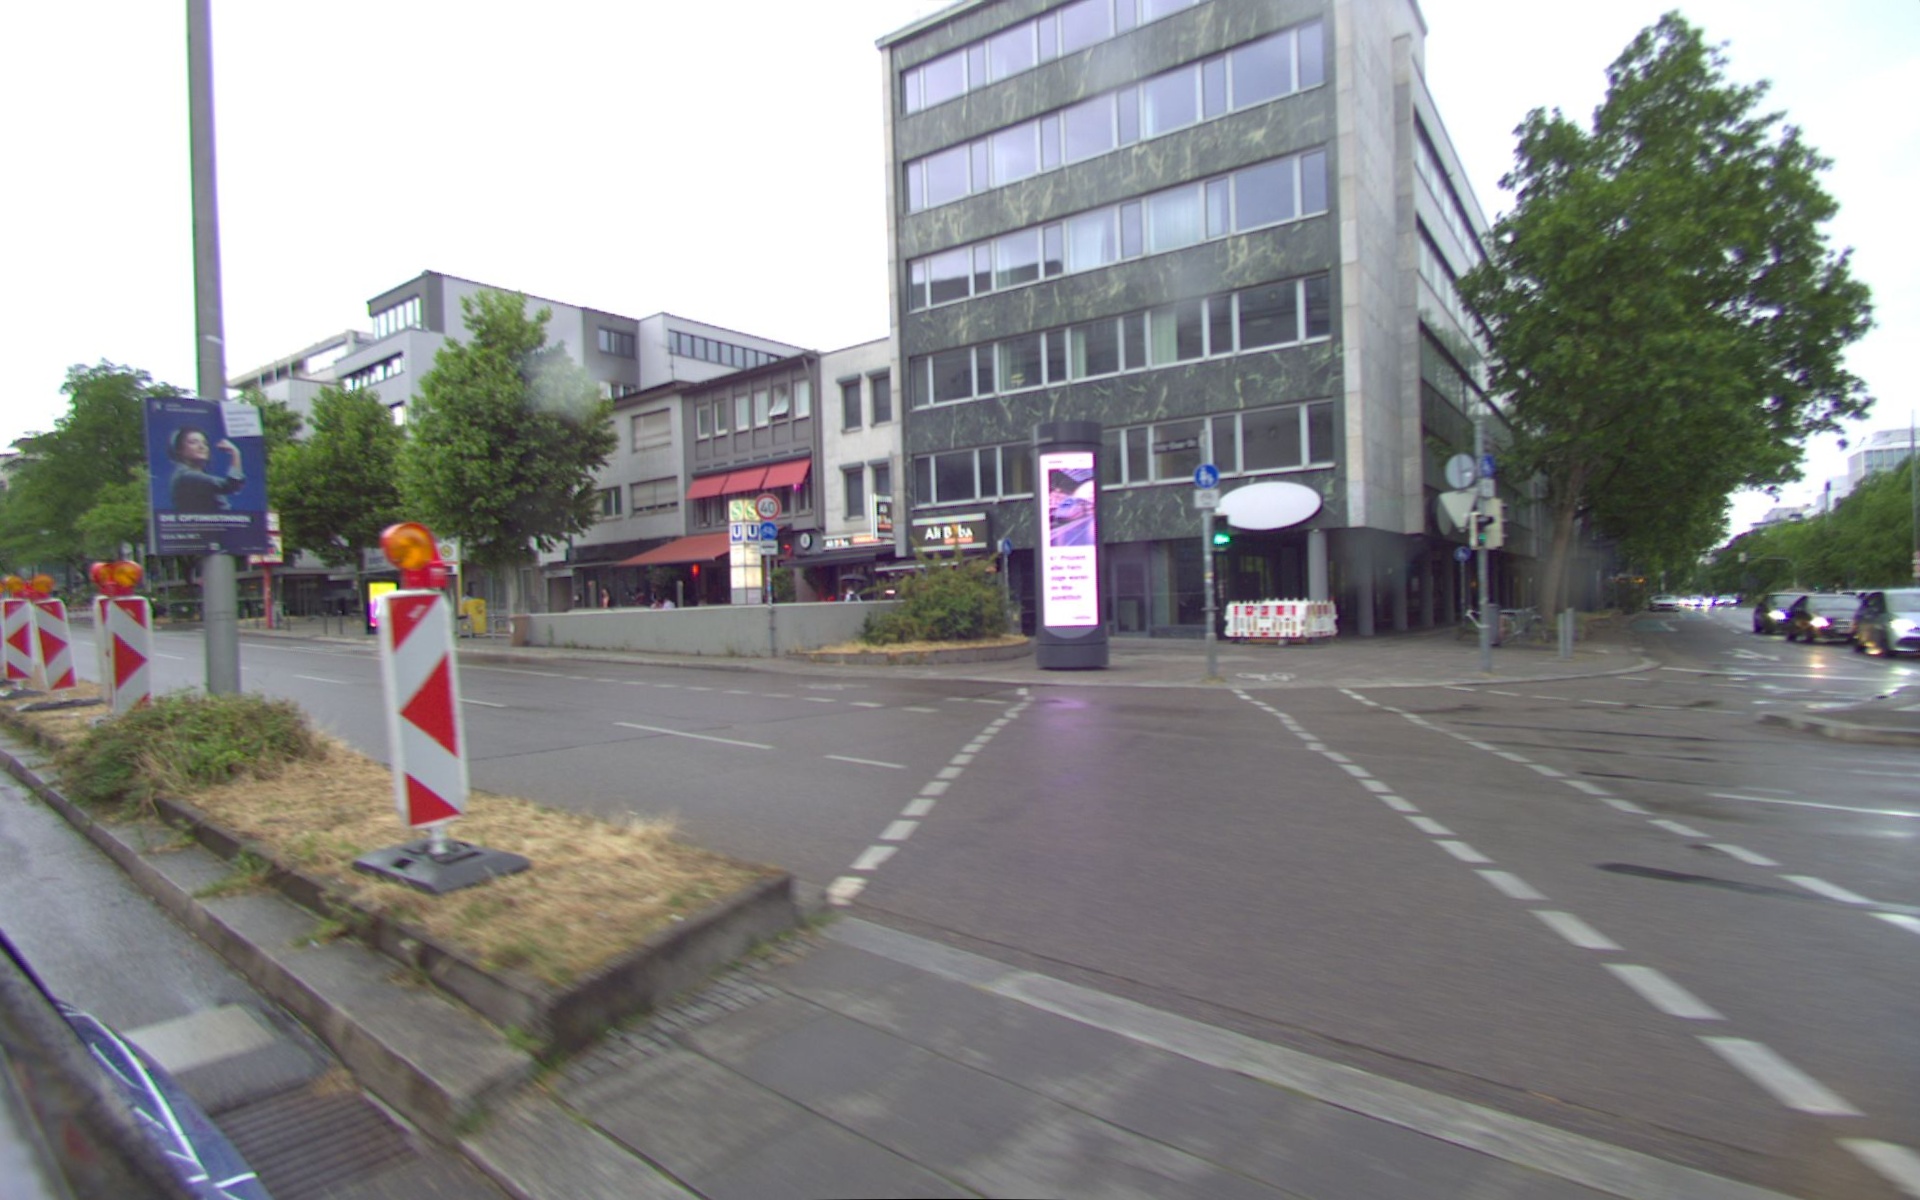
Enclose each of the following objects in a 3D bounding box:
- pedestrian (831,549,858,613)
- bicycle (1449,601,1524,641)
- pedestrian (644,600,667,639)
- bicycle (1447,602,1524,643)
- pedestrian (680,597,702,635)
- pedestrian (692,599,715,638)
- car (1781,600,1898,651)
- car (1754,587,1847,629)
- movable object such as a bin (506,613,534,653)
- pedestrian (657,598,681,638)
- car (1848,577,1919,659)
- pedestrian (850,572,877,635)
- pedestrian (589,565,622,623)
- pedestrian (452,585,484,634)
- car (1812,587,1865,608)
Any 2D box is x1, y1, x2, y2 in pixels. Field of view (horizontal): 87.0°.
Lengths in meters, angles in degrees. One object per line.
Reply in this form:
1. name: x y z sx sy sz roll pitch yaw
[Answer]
1. pedestrian: -3.728 -0.614 32.645 0.588 2.029 0.730 0 0 -29
2. bicycle: 14.640 0.580 28.179 1.780 1.060 0.579 -1 0 37
3. pedestrian: -12.067 0.773 40.156 0.611 1.540 0.660 -1 0 44
4. bicycle: 14.166 0.592 27.303 1.780 1.060 0.579 -1 0 37
5. pedestrian: -10.999 0.665 41.392 0.611 1.540 0.660 -1 0 45
6. pedestrian: -10.363 0.753 40.844 0.611 1.540 0.660 -1 0 44
7. car: 25.743 0.703 29.776 1.994 1.381 4.130 -1 0 33
8. car: 29.389 0.278 35.530 1.994 1.381 4.130 -1 0 33
9. movable object such as a bin: -12.725 0.948 29.283 0.660 1.109 0.501 0 1 39
10. pedestrian: -11.347 0.711 39.456 0.611 1.540 0.660 -1 0 44
11. car: 22.169 0.375 23.256 1.994 1.763 3.956 -1 0 32
12. pedestrian: -3.146 0.119 32.953 0.588 2.029 0.730 0 0 -29
13. pedestrian: -11.319 -0.185 32.305 0.786 1.837 0.607 0 0 21
14. pedestrian: -20.632 0.378 42.419 0.943 2.029 0.910 0 1 41
15. car: 65.131 -0.151 75.105 1.925 1.499 4.860 -1 0 29
